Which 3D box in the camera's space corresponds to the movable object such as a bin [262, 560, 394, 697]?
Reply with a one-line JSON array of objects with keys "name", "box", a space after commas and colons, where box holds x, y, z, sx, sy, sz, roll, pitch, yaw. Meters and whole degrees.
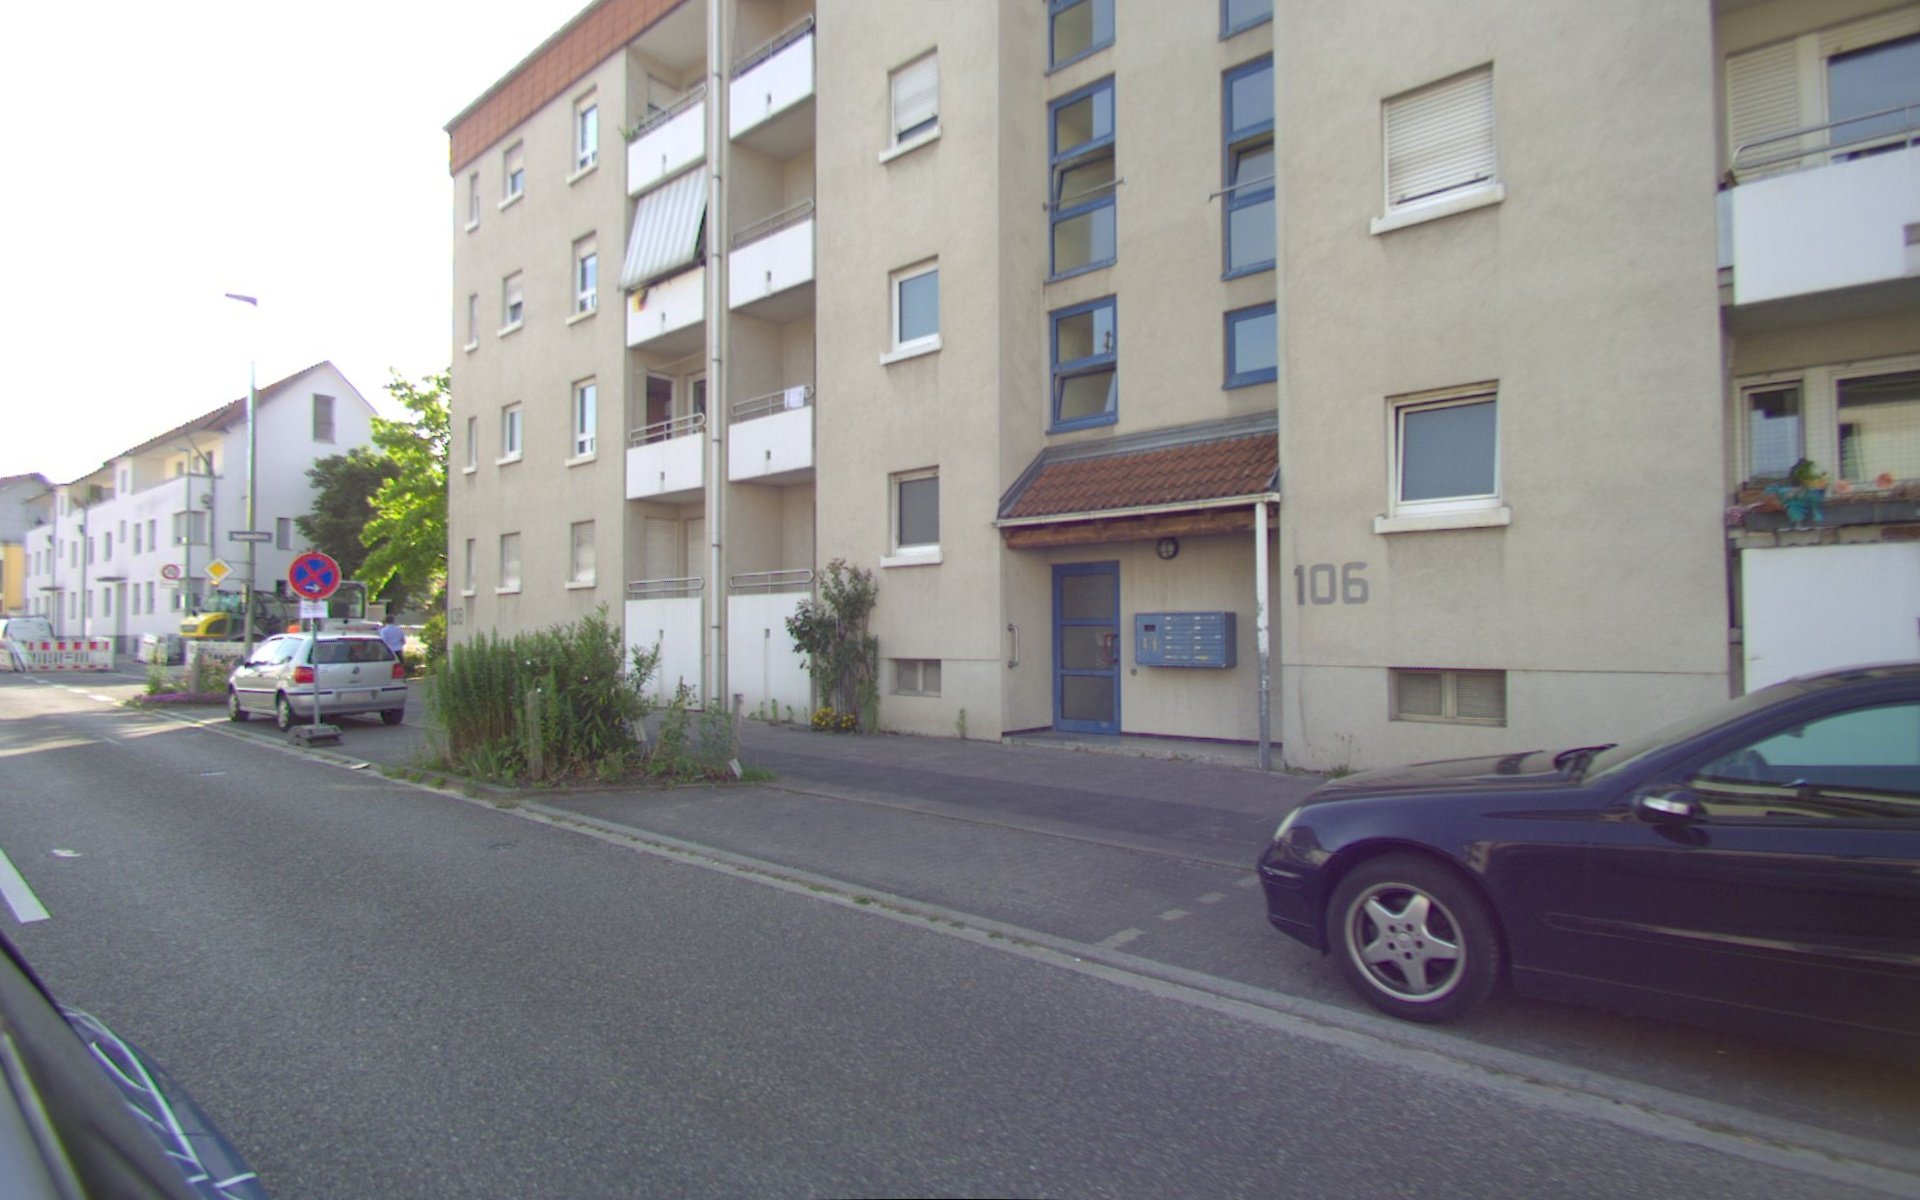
[{"name": "movable object such as a bin", "box": [-15.765, 0.740, 25.177, 3.897, 3.162, 1.631, -3, -3, 40]}]

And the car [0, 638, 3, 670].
[{"name": "car", "box": [-46.334, 2.537, 47.125, 4.252, 1.489, 1.713, -2, -1, 34]}]

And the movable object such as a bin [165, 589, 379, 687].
[{"name": "movable object such as a bin", "box": [-22.338, 1.215, 33.145, 2.103, 2.923, 5.460, -2, -2, 29]}]

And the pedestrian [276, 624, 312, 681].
[{"name": "pedestrian", "box": [-19.826, 1.551, 30.136, 0.993, 1.677, 0.661, -2, -2, 42]}]

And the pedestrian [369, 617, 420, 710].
[{"name": "pedestrian", "box": [-11.489, 1.272, 20.558, 0.745, 1.832, 0.711, -3, -3, 42]}]

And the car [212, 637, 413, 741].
[{"name": "car", "box": [-10.082, 1.288, 15.679, 3.668, 1.406, 1.623, -2, -2, 40]}]

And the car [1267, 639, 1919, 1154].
[{"name": "car", "box": [3.339, 0.857, 3.410, 4.081, 1.416, 1.668, -2, -2, 41]}]
